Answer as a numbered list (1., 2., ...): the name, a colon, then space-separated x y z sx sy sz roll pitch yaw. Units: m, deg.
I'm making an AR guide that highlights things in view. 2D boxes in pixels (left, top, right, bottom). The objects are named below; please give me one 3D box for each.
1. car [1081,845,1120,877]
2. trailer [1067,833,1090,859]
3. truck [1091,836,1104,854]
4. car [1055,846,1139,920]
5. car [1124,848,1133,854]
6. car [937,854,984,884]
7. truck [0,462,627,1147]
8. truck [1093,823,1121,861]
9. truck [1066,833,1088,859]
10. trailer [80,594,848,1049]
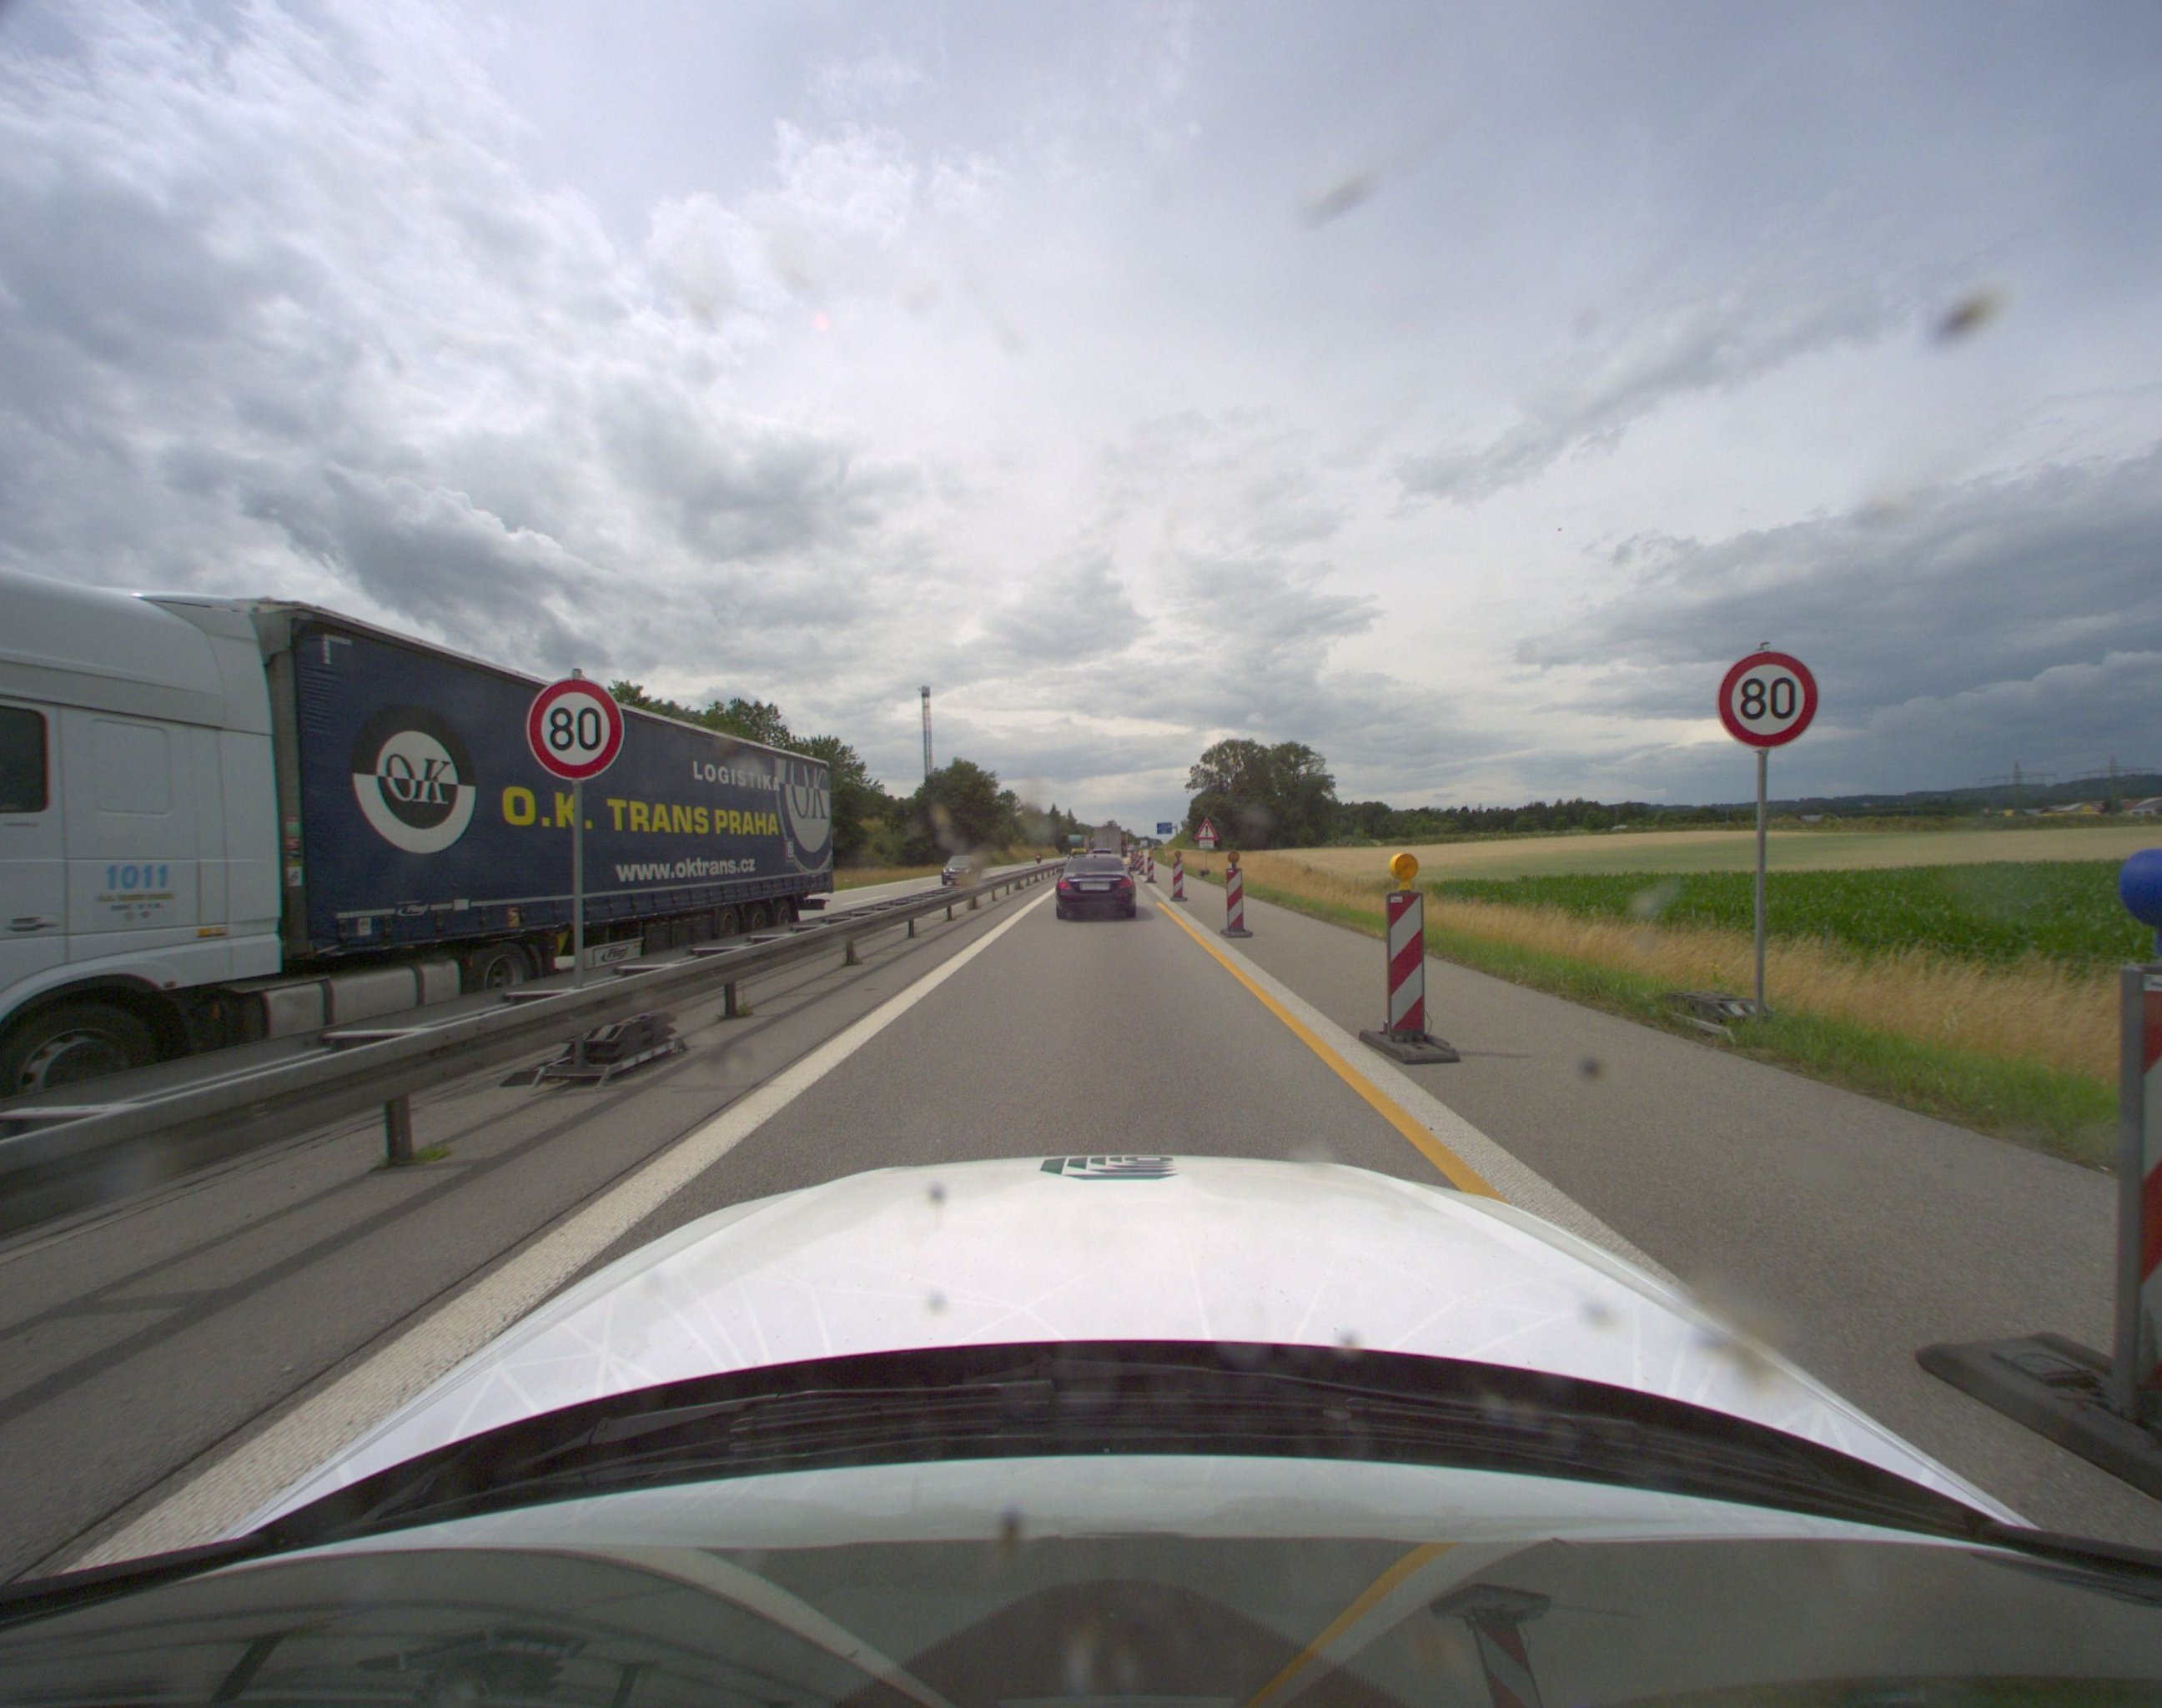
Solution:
1. car: 1.217 0.454 52.445 1.991 2.014 3.991 0 -1 -7
2. trailer: -0.347 -1.260 141.211 3.137 4.213 11.653 -1 0 4
3. truck: 4.035 -2.017 194.942 2.628 4.170 6.992 -1 -1 4
4. car: 0.358 0.641 19.382 1.790 1.560 4.000 0 0 0
5. car: 11.178 -0.779 190.951 1.645 1.395 3.703 0 0 -2
6. car: -6.968 0.846 47.481 1.986 1.684 4.234 0 0 1
7. truck: -7.836 -0.273 7.756 2.788 4.142 7.231 0 -1 2
8. truck: 2.502 -1.101 78.045 2.578 3.524 4.813 0 -1 1
9. truck: -0.659 -1.305 136.212 3.108 4.213 6.789 -1 -1 4
10. trailer: -7.627 -0.252 14.284 2.788 4.173 13.568 0 0 2
